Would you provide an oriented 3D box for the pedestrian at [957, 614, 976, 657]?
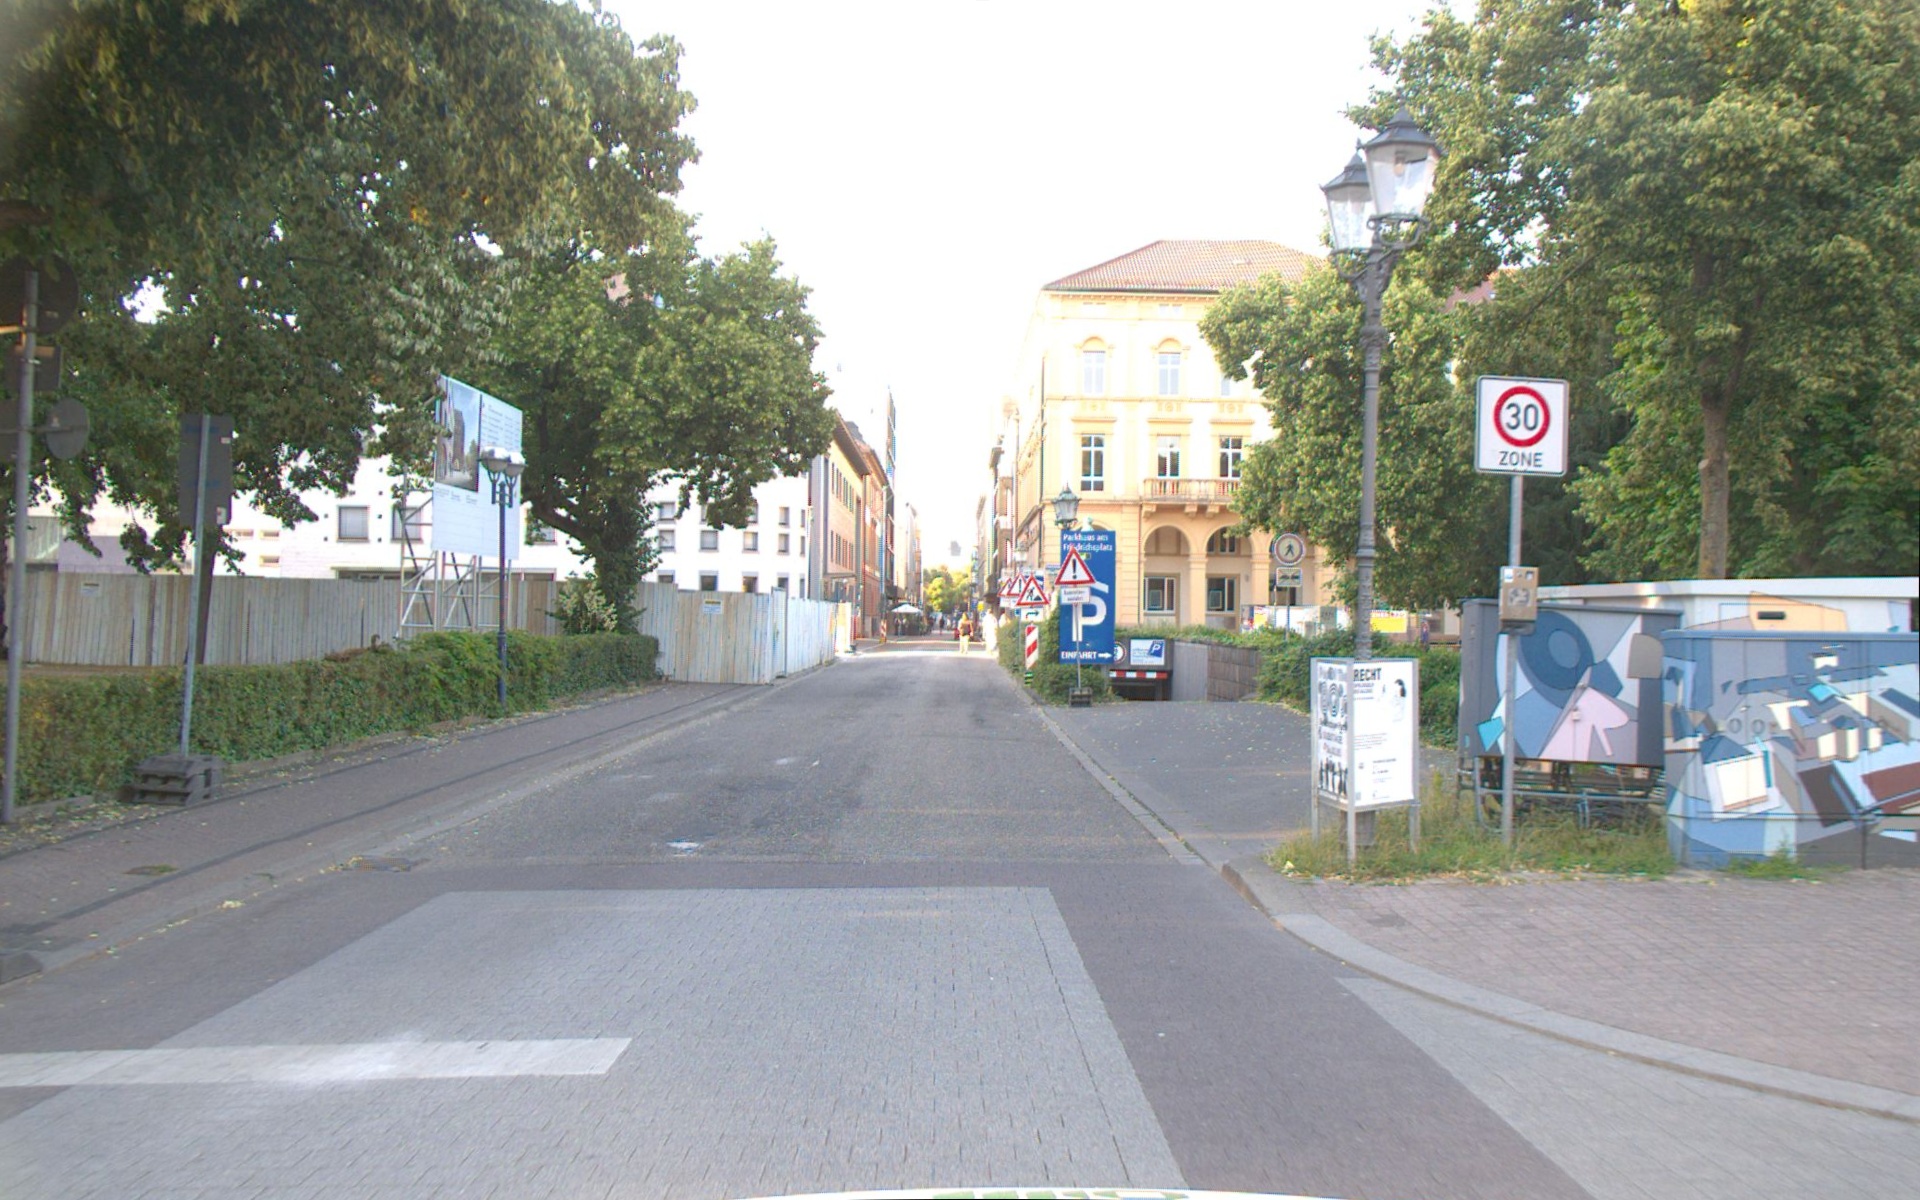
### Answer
[{"bbox_3d":[0.271,1.460,69.041,0.760,1.777,0.875,0,-1,-2],"label":"pedestrian"}]

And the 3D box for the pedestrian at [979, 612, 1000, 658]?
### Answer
[{"bbox_3d":[1.227,1.465,69.116,0.795,1.908,0.875,0,-1,-2],"label":"pedestrian"}]

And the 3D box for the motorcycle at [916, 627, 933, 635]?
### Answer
[{"bbox_3d":[-3.716,3.237,173.004,1.766,0.891,0.560,0,-1,-5],"label":"motorcycle"}]

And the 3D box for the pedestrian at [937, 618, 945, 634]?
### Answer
[{"bbox_3d":[-2.082,2.856,182.231,0.788,1.702,0.888,0,-1,1],"label":"pedestrian"}]

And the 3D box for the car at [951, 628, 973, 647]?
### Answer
[{"bbox_3d":[0.166,3.024,133.206,1.616,1.452,3.535,3,-1,0],"label":"car"}]

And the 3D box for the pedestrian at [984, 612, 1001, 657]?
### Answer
[{"bbox_3d":[1.329,1.426,67.816,0.623,1.835,0.771,0,-1,-2],"label":"pedestrian"}]
